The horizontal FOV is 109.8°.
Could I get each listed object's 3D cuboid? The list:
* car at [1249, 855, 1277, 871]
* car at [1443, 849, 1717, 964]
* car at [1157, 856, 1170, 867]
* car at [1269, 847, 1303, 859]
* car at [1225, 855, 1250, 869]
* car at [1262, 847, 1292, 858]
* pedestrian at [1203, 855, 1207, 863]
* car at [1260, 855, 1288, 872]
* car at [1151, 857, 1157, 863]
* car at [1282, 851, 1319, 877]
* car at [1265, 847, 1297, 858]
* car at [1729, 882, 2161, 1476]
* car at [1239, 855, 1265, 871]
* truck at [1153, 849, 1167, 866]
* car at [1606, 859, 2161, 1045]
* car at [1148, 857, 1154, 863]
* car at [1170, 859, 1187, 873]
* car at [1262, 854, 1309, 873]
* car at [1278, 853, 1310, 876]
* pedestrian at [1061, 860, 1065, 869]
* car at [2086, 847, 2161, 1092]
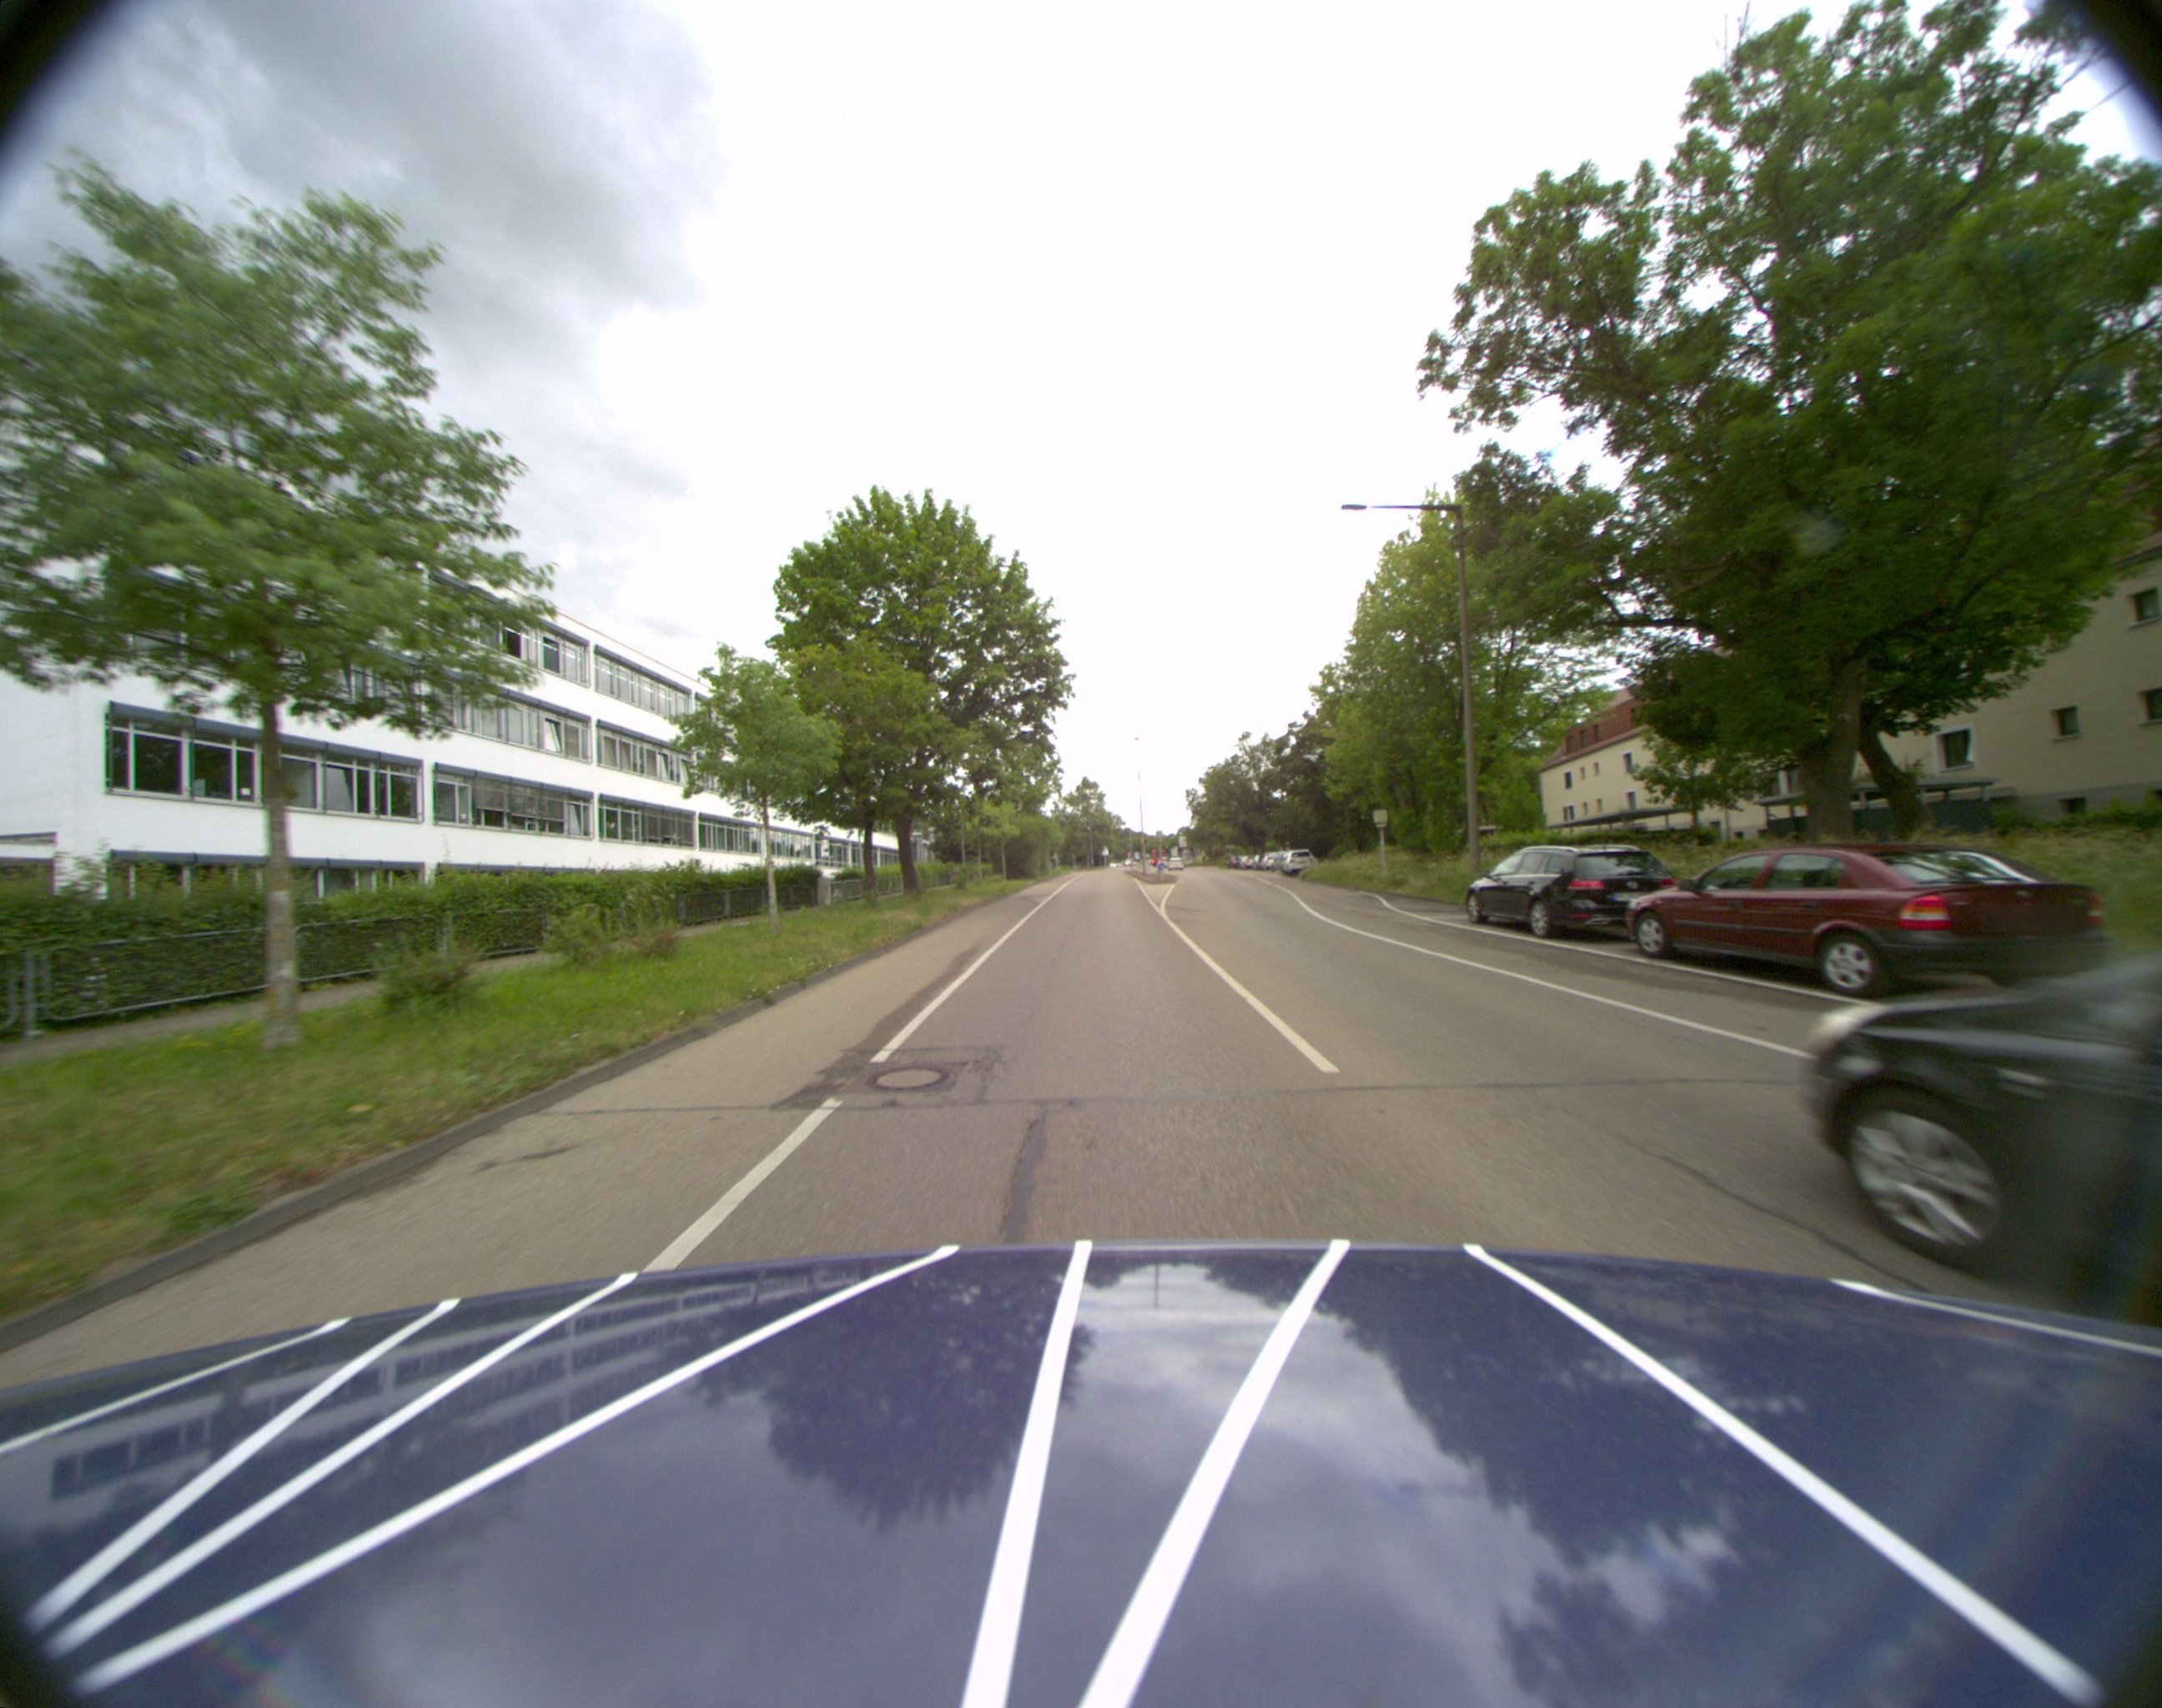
[{"bbox_3d":[18.355,0.922,76.673,1.880,1.498,4.001,-3,-1,2],"label":"car"},{"bbox_3d":[8.173,0.742,13.107,1.879,1.561,4.652,-3,0,4],"label":"car"},{"bbox_3d":[14.420,1.382,133.437,1.832,1.759,4.407,-3,-1,2],"label":"car"},{"bbox_3d":[35.288,-0.123,130.641,5.297,2.002,2.012,-1,1,2],"label":"car"},{"bbox_3d":[18.946,1.009,92.283,1.880,1.498,3.887,-3,-1,-4],"label":"car"},{"bbox_3d":[36.539,-0.271,141.668,5.297,2.002,1.740,-1,1,2],"label":"car"},{"bbox_3d":[25.377,1.030,155.261,0.757,1.438,0.639,-3,1,3],"label":"pedestrian"},{"bbox_3d":[18.198,0.908,71.709,1.879,1.498,4.002,-2,-1,4],"label":"car"},{"bbox_3d":[21.429,1.783,224.004,1.591,1.608,3.585,-2,-1,7],"label":"car"},{"bbox_3d":[14.984,0.659,51.992,1.878,1.657,4.394,-3,-1,10],"label":"car"},{"bbox_3d":[36.470,-0.293,138.596,5.296,2.002,1.740,-1,1,3],"label":"car"},{"bbox_3d":[3.604,0.878,1.306,1.641,1.458,4.000,-1,0,2],"label":"car"},{"bbox_3d":[18.476,0.968,82.308,1.880,1.498,4.057,-3,0,2],"label":"car"},{"bbox_3d":[17.109,0.690,164.547,2.830,3.460,7.827,-2,0,6],"label":"truck"},{"bbox_3d":[7.913,0.808,8.196,1.772,1.439,4.151,-2,0,3],"label":"car"},{"bbox_3d":[21.158,1.888,229.528,1.591,1.608,3.585,-2,-1,7],"label":"car"},{"bbox_3d":[12.373,1.554,97.002,1.879,1.561,4.340,-3,1,4],"label":"car"},{"bbox_3d":[16.865,0.792,62.790,1.882,1.498,3.995,-2,-1,-16],"label":"car"},{"bbox_3d":[16.210,0.748,57.888,1.878,1.587,4.003,-3,-1,10],"label":"car"},{"bbox_3d":[-3.379,1.924,142.376,0.734,1.717,0.502,-1,1,-1],"label":"pedestrian"},{"bbox_3d":[7.867,0.712,3.200,1.772,1.582,4.135,-2,0,0],"label":"car"}]
